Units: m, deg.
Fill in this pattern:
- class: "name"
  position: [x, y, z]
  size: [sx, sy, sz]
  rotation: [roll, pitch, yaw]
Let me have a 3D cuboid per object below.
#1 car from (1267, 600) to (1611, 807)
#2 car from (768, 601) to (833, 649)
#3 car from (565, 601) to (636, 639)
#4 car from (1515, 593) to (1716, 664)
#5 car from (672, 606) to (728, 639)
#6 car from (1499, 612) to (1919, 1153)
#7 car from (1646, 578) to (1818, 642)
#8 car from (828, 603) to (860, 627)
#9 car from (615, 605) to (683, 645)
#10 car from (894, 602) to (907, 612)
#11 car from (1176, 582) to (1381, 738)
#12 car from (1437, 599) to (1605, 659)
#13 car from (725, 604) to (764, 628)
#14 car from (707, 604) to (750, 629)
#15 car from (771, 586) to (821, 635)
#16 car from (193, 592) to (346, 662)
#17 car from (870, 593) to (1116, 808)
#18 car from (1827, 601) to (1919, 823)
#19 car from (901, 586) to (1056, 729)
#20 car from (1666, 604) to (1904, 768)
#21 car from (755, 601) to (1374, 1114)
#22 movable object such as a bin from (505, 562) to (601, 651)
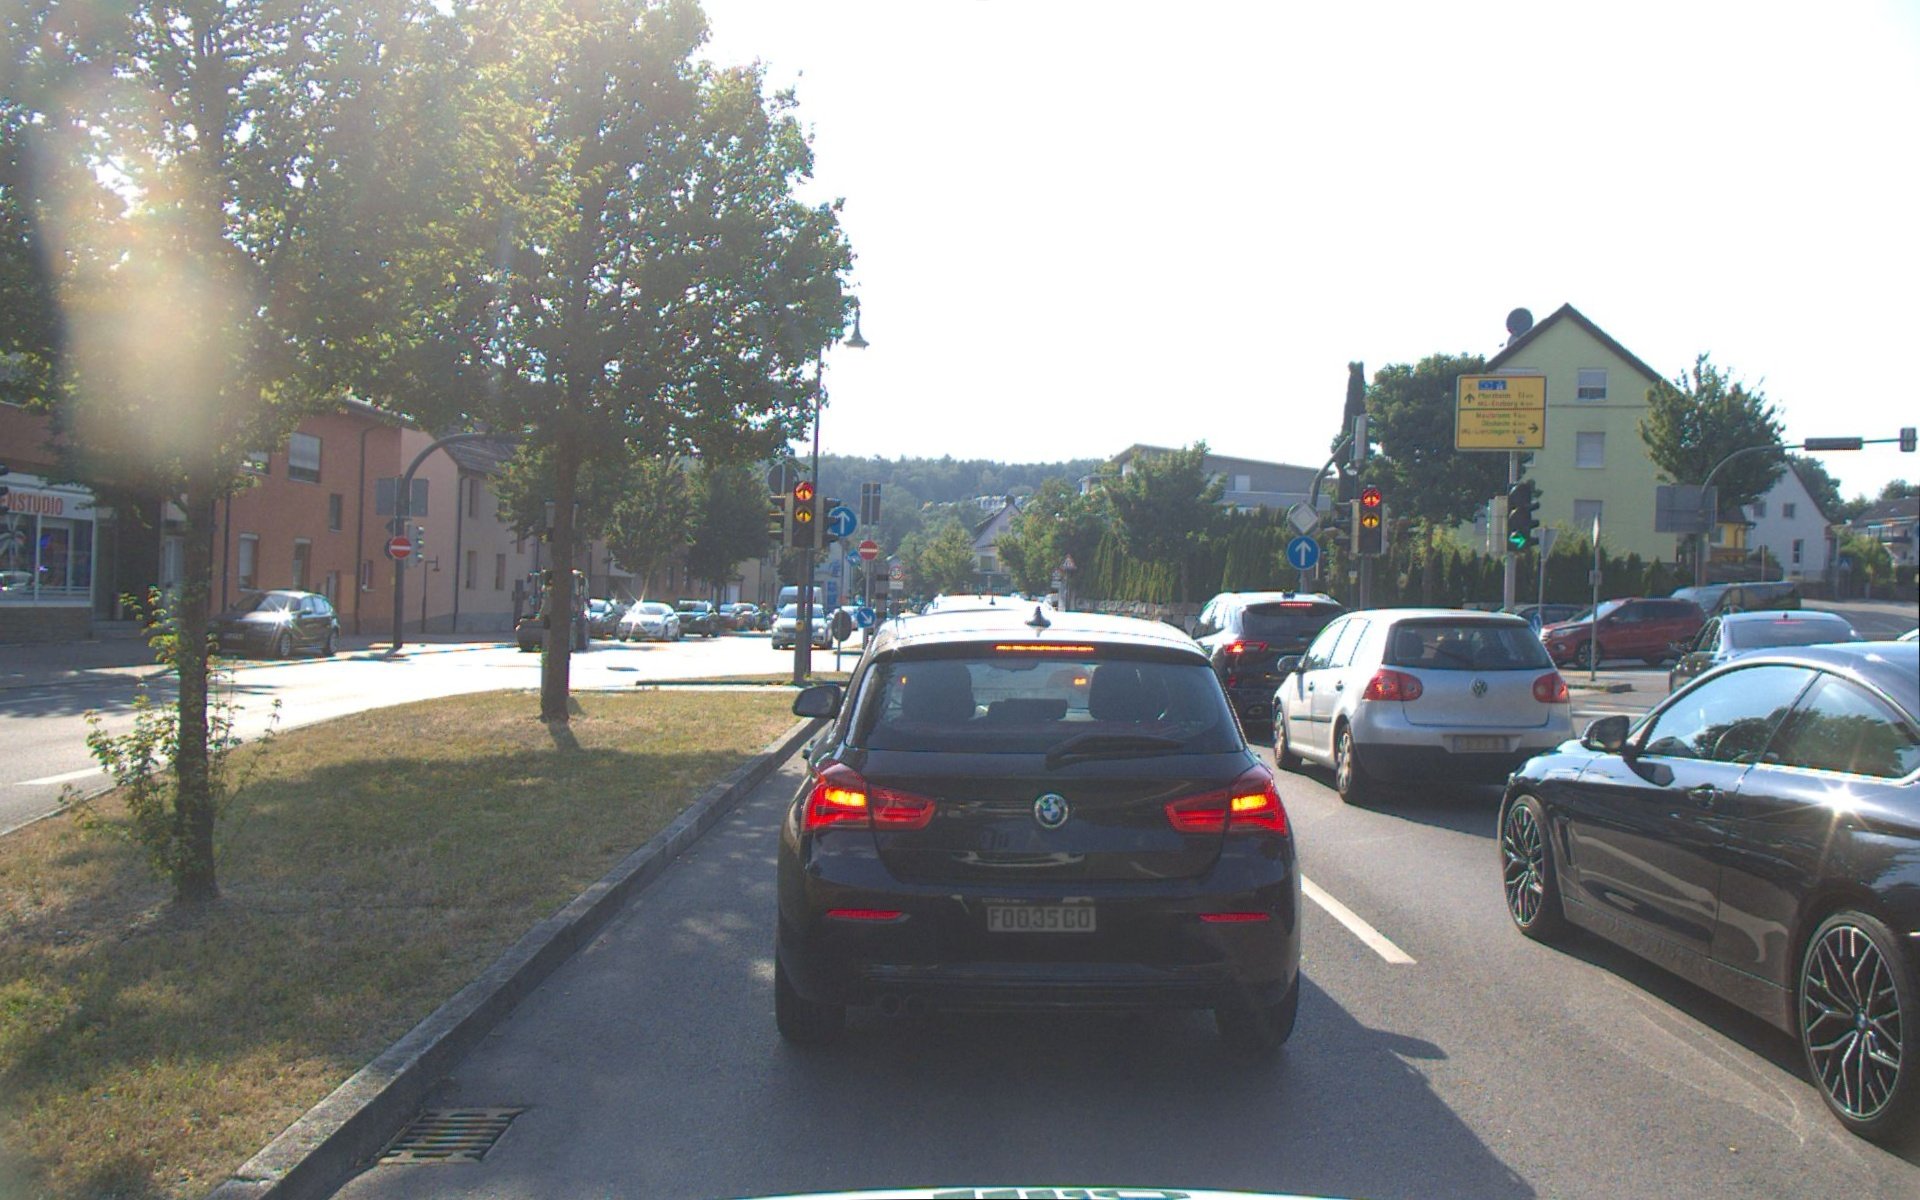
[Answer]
- class: "car"
  position: [3.791, 0.740, 13.789]
  size: [1.725, 1.451, 3.902]
  rotation: [-1, 0, 0]
- class: "car"
  position: [-5.311, 0.805, 55.421]
  size: [1.801, 1.508, 4.000]
  rotation: [1, 0, 0]
- class: "car"
  position: [-14.502, 0.807, 66.920]
  size: [1.701, 1.323, 4.001]
  rotation: [5, 0, 3]
- class: "car"
  position: [16.322, 0.692, 41.270]
  size: [4.333, 1.670, 1.845]
  rotation: [1, 0, -8]
- class: "car"
  position: [-11.717, 0.994, 74.676]
  size: [1.701, 1.323, 3.800]
  rotation: [5, 0, 2]
- class: "car"
  position: [3.469, 0.784, 5.833]
  size: [1.725, 1.422, 4.280]
  rotation: [-1, 0, 0]
- class: "car"
  position: [22.274, 0.293, 47.738]
  size: [4.703, 1.770, 1.835]
  rotation: [1, 0, -23]
- class: "car"
  position: [-7.750, 0.996, 110.763]
  size: [1.801, 1.508, 4.001]
  rotation: [1, 0, 1]
- class: "car"
  position: [-12.000, 0.944, 64.054]
  size: [1.701, 1.323, 3.800]
  rotation: [5, 0, 2]
- class: "car"
  position: [-9.152, 1.028, 254.504]
  size: [1.701, 1.323, 3.800]
  rotation: [5, 0, 2]
- class: "car"
  position: [3.744, 0.648, 20.071]
  size: [1.725, 1.685, 3.902]
  rotation: [-1, 0, 0]
- class: "car"
  position: [15.165, 0.765, 44.849]
  size: [3.907, 1.515, 1.847]
  rotation: [1, 0, -3]
- class: "car"
  position: [-13.321, 0.977, 102.390]
  size: [1.701, 1.323, 3.800]
  rotation: [5, 0, 2]
- class: "car"
  position: [-13.545, 0.954, 96.945]
  size: [1.701, 1.323, 3.800]
  rotation: [5, 0, 2]
- class: "car"
  position: [-8.444, 0.533, 85.794]
  size: [2.042, 2.435, 5.527]
  rotation: [1, 0, -1]
- class: "car"
  position: [-15.475, 0.574, 37.306]
  size: [1.702, 1.323, 3.999]
  rotation: [5, 0, -1]
- class: "car"
  position: [0.235, 0.715, 13.997]
  size: [1.751, 1.520, 4.280]
  rotation: [-1, 0, 0]
- class: "car"
  position: [7.620, 0.798, 11.641]
  size: [1.583, 1.569, 3.320]
  rotation: [-1, 0, 6]
- class: "car"
  position: [0.205, 0.648, 21.038]
  size: [1.751, 1.622, 4.280]
  rotation: [-1, 0, 0]
- class: "car"
  position: [9.044, 0.853, 18.474]
  size: [1.621, 1.569, 4.401]
  rotation: [-1, 0, 17]
- class: "car"
  position: [0.294, 0.734, 6.853]
  size: [1.751, 1.422, 4.280]
  rotation: [-1, 0, 0]
- class: "movable object such as a bin"
  position: [-11.894, 0.197, 48.604]
  size: [1.701, 2.485, 4.449]
  rotation: [0, 0, 0]
